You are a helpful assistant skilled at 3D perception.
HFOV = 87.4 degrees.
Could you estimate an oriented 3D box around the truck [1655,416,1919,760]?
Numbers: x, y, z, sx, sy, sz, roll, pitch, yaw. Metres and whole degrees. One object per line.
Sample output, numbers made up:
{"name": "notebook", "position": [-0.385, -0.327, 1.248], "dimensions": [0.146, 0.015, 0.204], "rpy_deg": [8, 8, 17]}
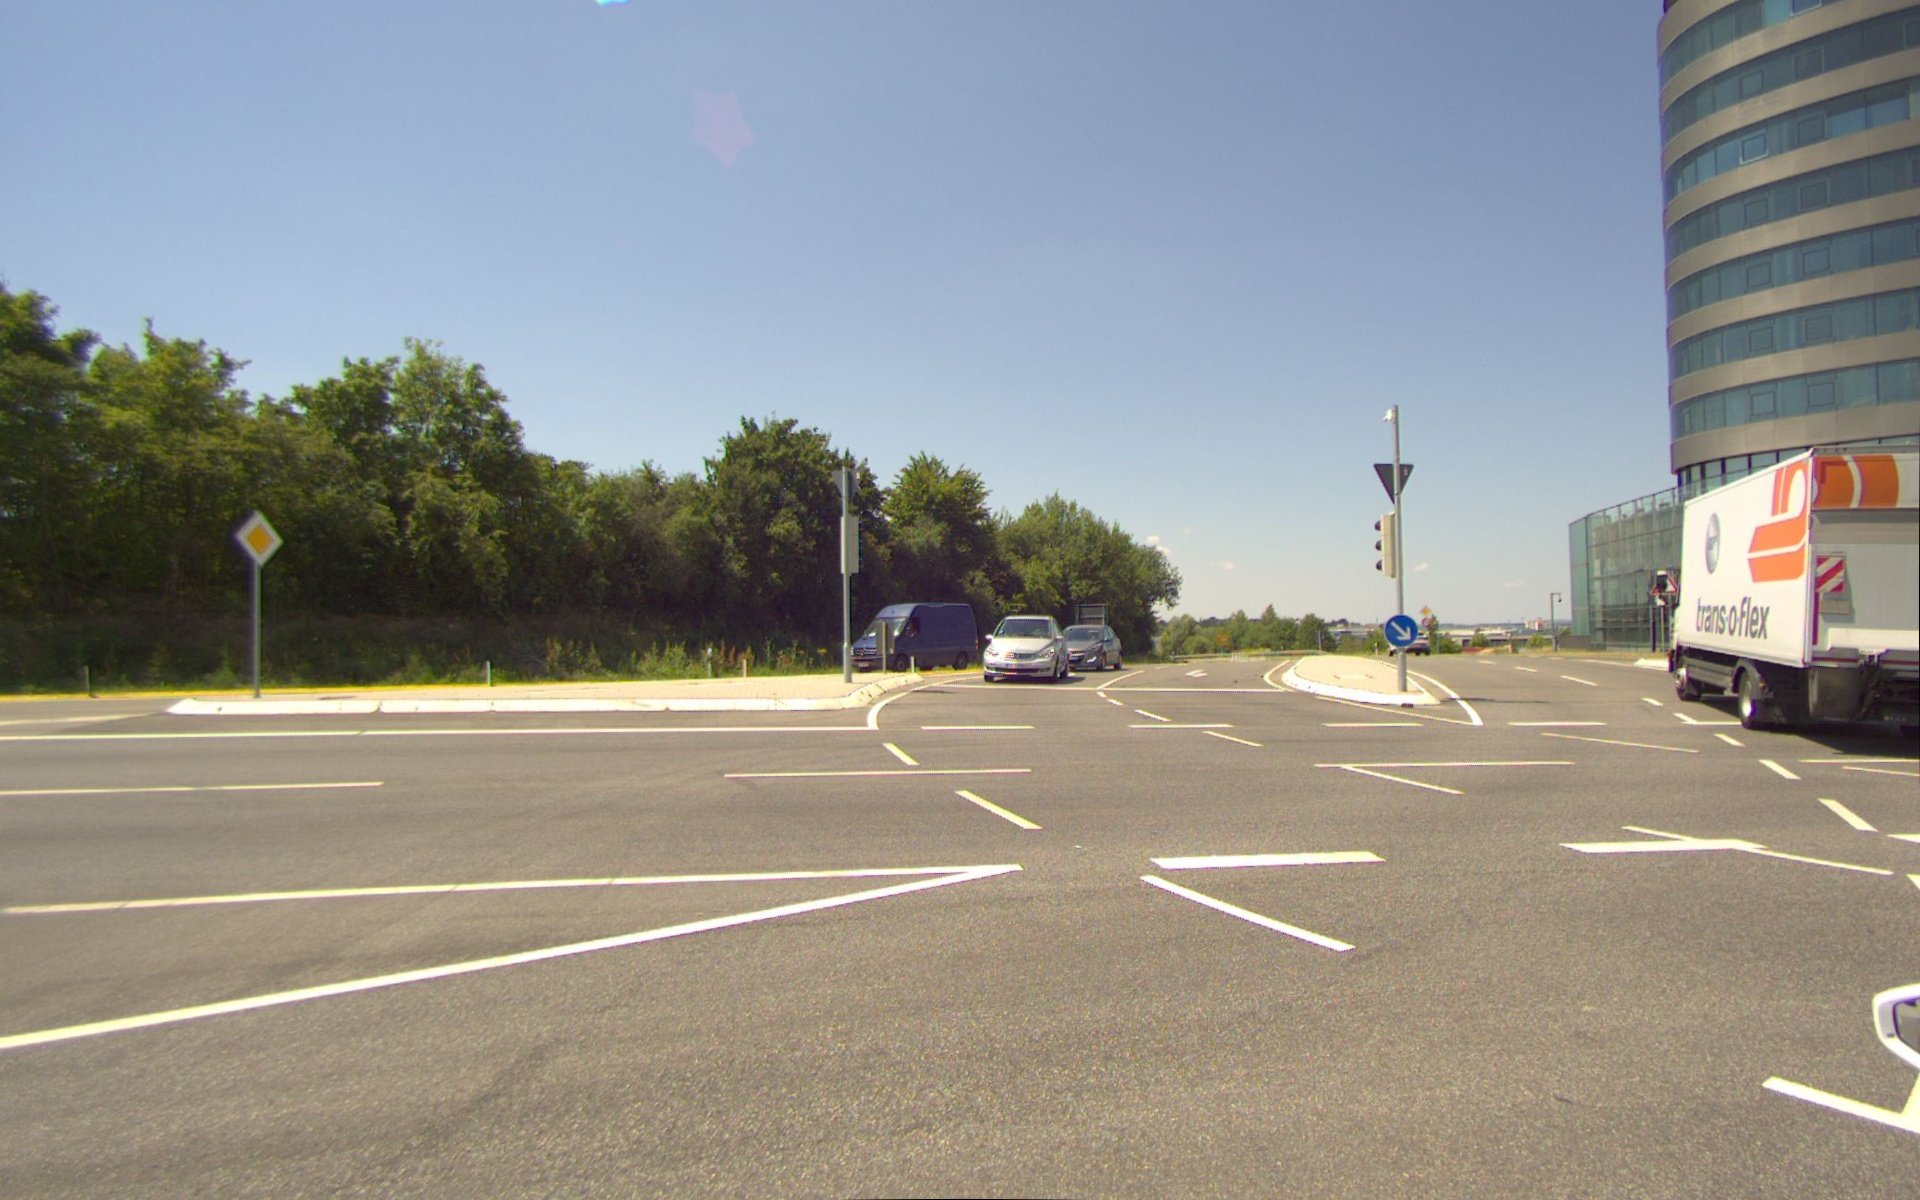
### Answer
{"name": "truck", "position": [13.176, -0.031, 15.506], "dimensions": [2.727, 3.911, 9.360], "rpy_deg": [0, -1, 27]}

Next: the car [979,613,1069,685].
{"name": "car", "position": [1.678, 1.228, 25.011], "dimensions": [1.741, 1.616, 4.334], "rpy_deg": [1, -3, 10]}

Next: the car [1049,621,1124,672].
{"name": "car", "position": [4.148, 1.512, 32.314], "dimensions": [1.663, 1.475, 4.332], "rpy_deg": [0, -3, 17]}

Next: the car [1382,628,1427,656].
{"name": "car", "position": [26.713, 2.505, 60.505], "dimensions": [1.771, 1.577, 4.002], "rpy_deg": [1, -1, 13]}

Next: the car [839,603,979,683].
{"name": "car", "position": [-1.772, 1.549, 37.524], "dimensions": [2.032, 2.740, 5.877], "rpy_deg": [0, -1, 35]}

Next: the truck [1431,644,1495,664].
{"name": "truck", "position": [91.379, 9.845, 182.691], "dimensions": [10.247, 3.262, 2.444], "rpy_deg": [0, -1, 42]}
